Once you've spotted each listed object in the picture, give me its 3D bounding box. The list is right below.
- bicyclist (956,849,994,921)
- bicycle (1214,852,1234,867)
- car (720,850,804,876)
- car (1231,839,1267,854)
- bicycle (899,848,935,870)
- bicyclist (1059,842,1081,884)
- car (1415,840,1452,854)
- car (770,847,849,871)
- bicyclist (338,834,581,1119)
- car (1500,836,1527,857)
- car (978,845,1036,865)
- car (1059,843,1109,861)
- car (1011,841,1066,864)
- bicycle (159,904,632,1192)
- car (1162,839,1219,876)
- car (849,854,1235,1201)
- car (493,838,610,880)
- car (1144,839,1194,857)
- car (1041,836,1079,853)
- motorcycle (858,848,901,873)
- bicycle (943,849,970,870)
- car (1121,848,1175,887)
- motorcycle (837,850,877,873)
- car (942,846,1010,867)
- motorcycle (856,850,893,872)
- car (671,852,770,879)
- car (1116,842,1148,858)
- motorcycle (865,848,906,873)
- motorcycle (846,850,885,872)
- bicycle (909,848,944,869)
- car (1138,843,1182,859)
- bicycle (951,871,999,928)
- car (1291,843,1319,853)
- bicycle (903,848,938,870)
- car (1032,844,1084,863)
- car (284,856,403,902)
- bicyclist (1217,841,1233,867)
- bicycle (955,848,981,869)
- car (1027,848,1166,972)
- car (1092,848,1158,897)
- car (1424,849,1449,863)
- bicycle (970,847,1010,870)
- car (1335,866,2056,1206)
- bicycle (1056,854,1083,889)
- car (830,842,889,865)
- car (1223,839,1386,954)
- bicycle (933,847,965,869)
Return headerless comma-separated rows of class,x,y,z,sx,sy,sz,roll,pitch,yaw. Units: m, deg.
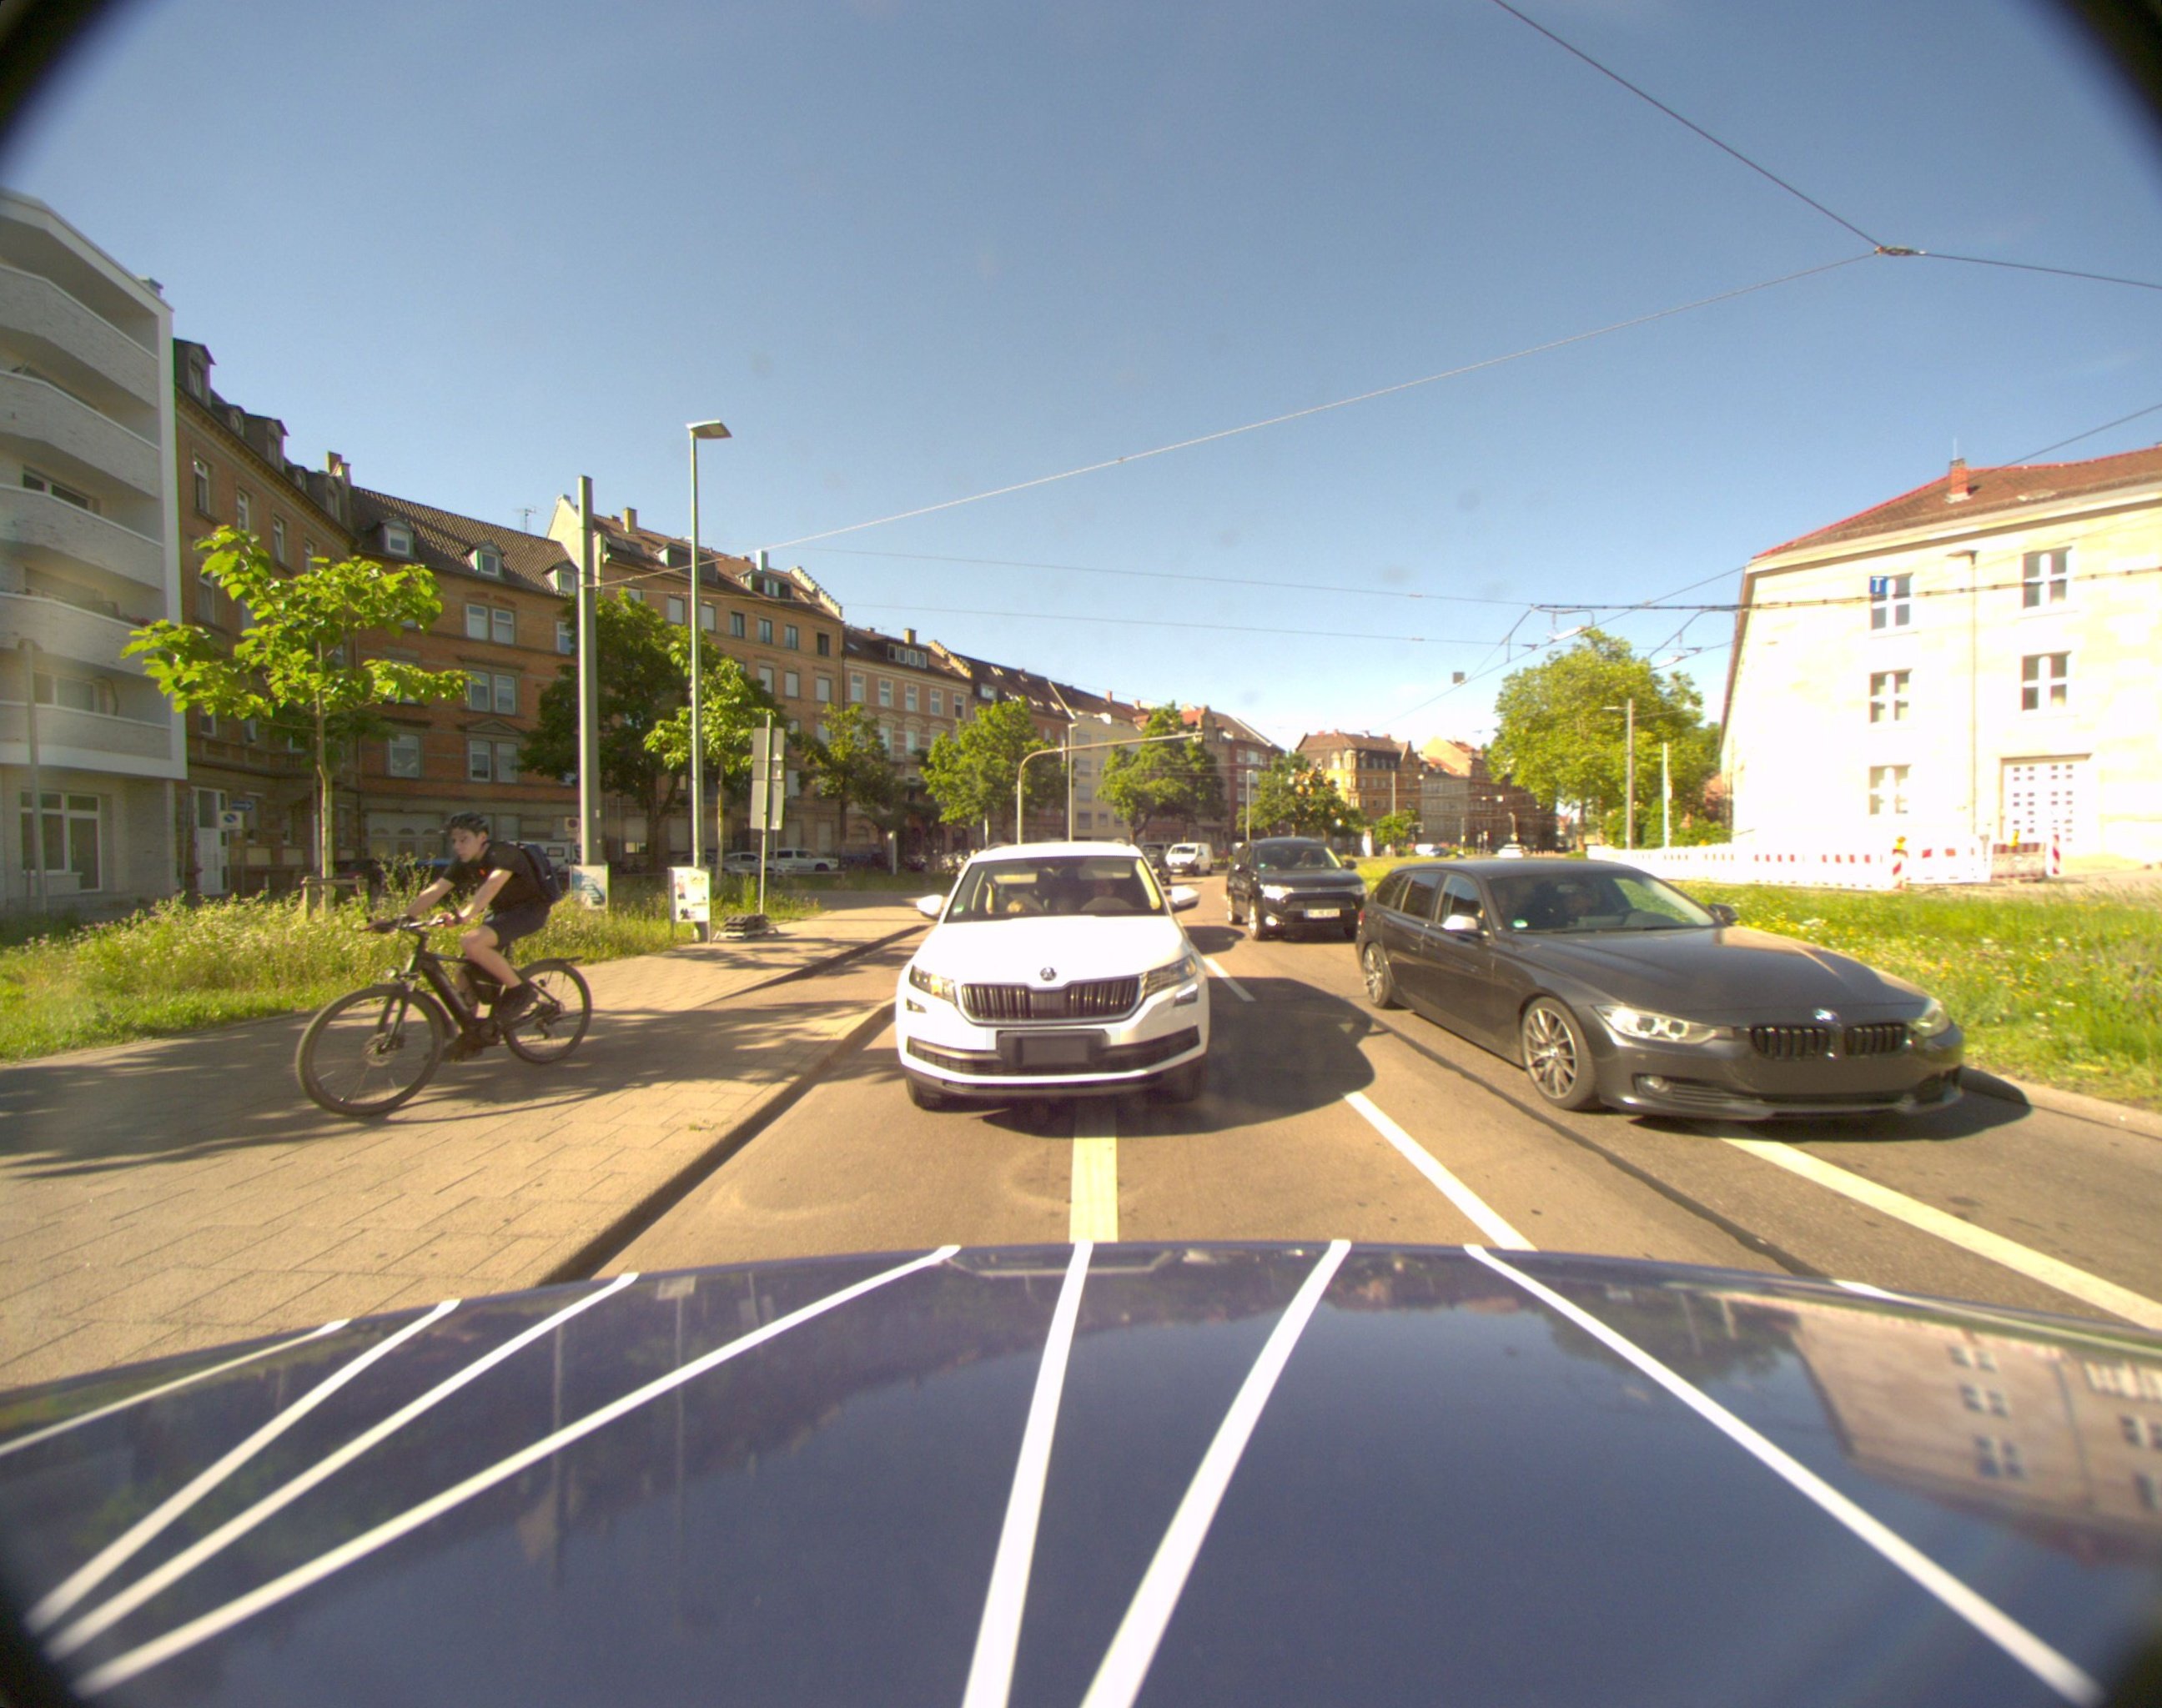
bicyclist,-2.469,0.710,17.819,0.668,1.619,0.971,-1,1,5
bicycle,11.290,0.453,60.079,0.762,1.138,2.287,0,1,32
car,-16.406,0.439,39.107,3.696,1.244,1.683,0,1,13
car,18.695,-0.821,84.661,3.823,1.581,1.600,0,1,6
bicycle,-9.742,0.306,45.072,2.198,1.260,0.664,-2,1,30
bicyclist,-0.433,0.356,31.252,0.735,1.685,0.972,-1,1,9
car,53.381,-1.080,115.049,2.004,1.864,4.578,-3,1,-42
car,-14.679,0.255,41.196,3.700,1.244,1.540,0,1,2
bicyclist,-3.888,0.693,4.834,0.630,1.619,0.972,-1,1,13
car,36.402,-0.632,63.954,1.820,1.636,4.190,-1,0,32
car,-5.226,0.086,53.967,3.822,1.398,1.683,0,1,9
car,0.261,-0.160,61.167,3.823,1.398,1.600,0,1,6
car,-3.107,-0.137,56.106,3.825,1.698,1.682,0,1,3
bicycle,-3.920,0.988,4.685,0.637,1.190,2.156,-1,1,13
car,6.617,0.174,45.510,1.978,2.074,4.721,0,1,26
car,-0.226,0.852,5.952,1.842,1.636,4.397,-2,0,-1
car,-27.117,0.217,39.011,2.047,2.026,4.510,1,2,41
car,8.198,-0.590,70.611,4.578,1.658,1.600,0,1,7
car,-1.939,-0.943,71.667,1.547,1.578,3.607,1,2,41
motorcycle,-11.177,0.374,42.209,2.200,1.322,0.663,-2,1,13
bicycle,-7.684,0.340,46.762,0.664,1.260,2.199,-3,1,-36
car,3.124,0.555,34.868,1.837,1.637,4.152,0,1,14
motorcycle,-13.288,0.438,45.021,2.314,1.270,0.664,-2,1,24
car,-7.042,0.174,51.297,4.322,1.398,1.682,0,1,3
motorcycle,-12.601,0.401,46.406,2.199,1.260,0.664,-2,1,24
car,-17.499,0.533,36.908,4.156,1.244,1.683,0,1,13
car,5.469,-0.423,80.730,1.547,1.578,3.607,1,2,41
motorcycle,-11.147,0.357,43.295,2.200,1.315,0.664,-2,1,18
motorcycle,-12.939,0.415,45.626,2.314,1.276,0.664,-2,1,24
bicycle,-9.509,0.279,46.714,2.198,1.260,0.664,-2,1,32
car,7.127,-0.250,68.181,3.823,1.372,1.600,0,1,9
bicycle,-2.461,1.021,17.825,0.668,1.190,2.155,-1,1,4
car,37.688,-1.088,127.762,4.058,1.647,1.770,1,2,34
bicycle,-9.706,0.294,46.010,2.198,1.260,0.664,-2,1,32
car,-1.775,-0.055,58.714,3.823,1.398,1.600,0,1,6
car,-26.167,0.829,27.150,1.835,1.419,4.378,-1,1,-27
bicyclist,11.429,-0.004,60.229,0.847,2.002,1.198,0,1,31
bicycle,-7.122,0.307,47.755,0.664,1.260,2.199,-3,1,-36
car,0.236,0.760,12.610,1.842,1.636,4.397,-2,0,1
car,1.645,0.596,26.959,1.838,1.543,4.151,0,1,10
car,45.918,0.237,98.091,1.835,1.637,4.157,1,2,40
bicycle,-5.475,0.266,45.741,2.207,1.260,0.662,-3,1,-25
car,3.480,0.847,5.596,1.741,1.359,4.426,-2,0,1
bicycle,-0.447,0.713,31.237,0.736,1.353,2.076,-1,1,9
car,-15.609,-0.056,53.673,1.547,1.578,3.709,1,2,41
car,3.699,0.623,13.400,1.841,1.636,4.399,-2,0,5
bicycle,-7.728,0.239,44.520,0.664,1.260,2.198,-3,1,-45
